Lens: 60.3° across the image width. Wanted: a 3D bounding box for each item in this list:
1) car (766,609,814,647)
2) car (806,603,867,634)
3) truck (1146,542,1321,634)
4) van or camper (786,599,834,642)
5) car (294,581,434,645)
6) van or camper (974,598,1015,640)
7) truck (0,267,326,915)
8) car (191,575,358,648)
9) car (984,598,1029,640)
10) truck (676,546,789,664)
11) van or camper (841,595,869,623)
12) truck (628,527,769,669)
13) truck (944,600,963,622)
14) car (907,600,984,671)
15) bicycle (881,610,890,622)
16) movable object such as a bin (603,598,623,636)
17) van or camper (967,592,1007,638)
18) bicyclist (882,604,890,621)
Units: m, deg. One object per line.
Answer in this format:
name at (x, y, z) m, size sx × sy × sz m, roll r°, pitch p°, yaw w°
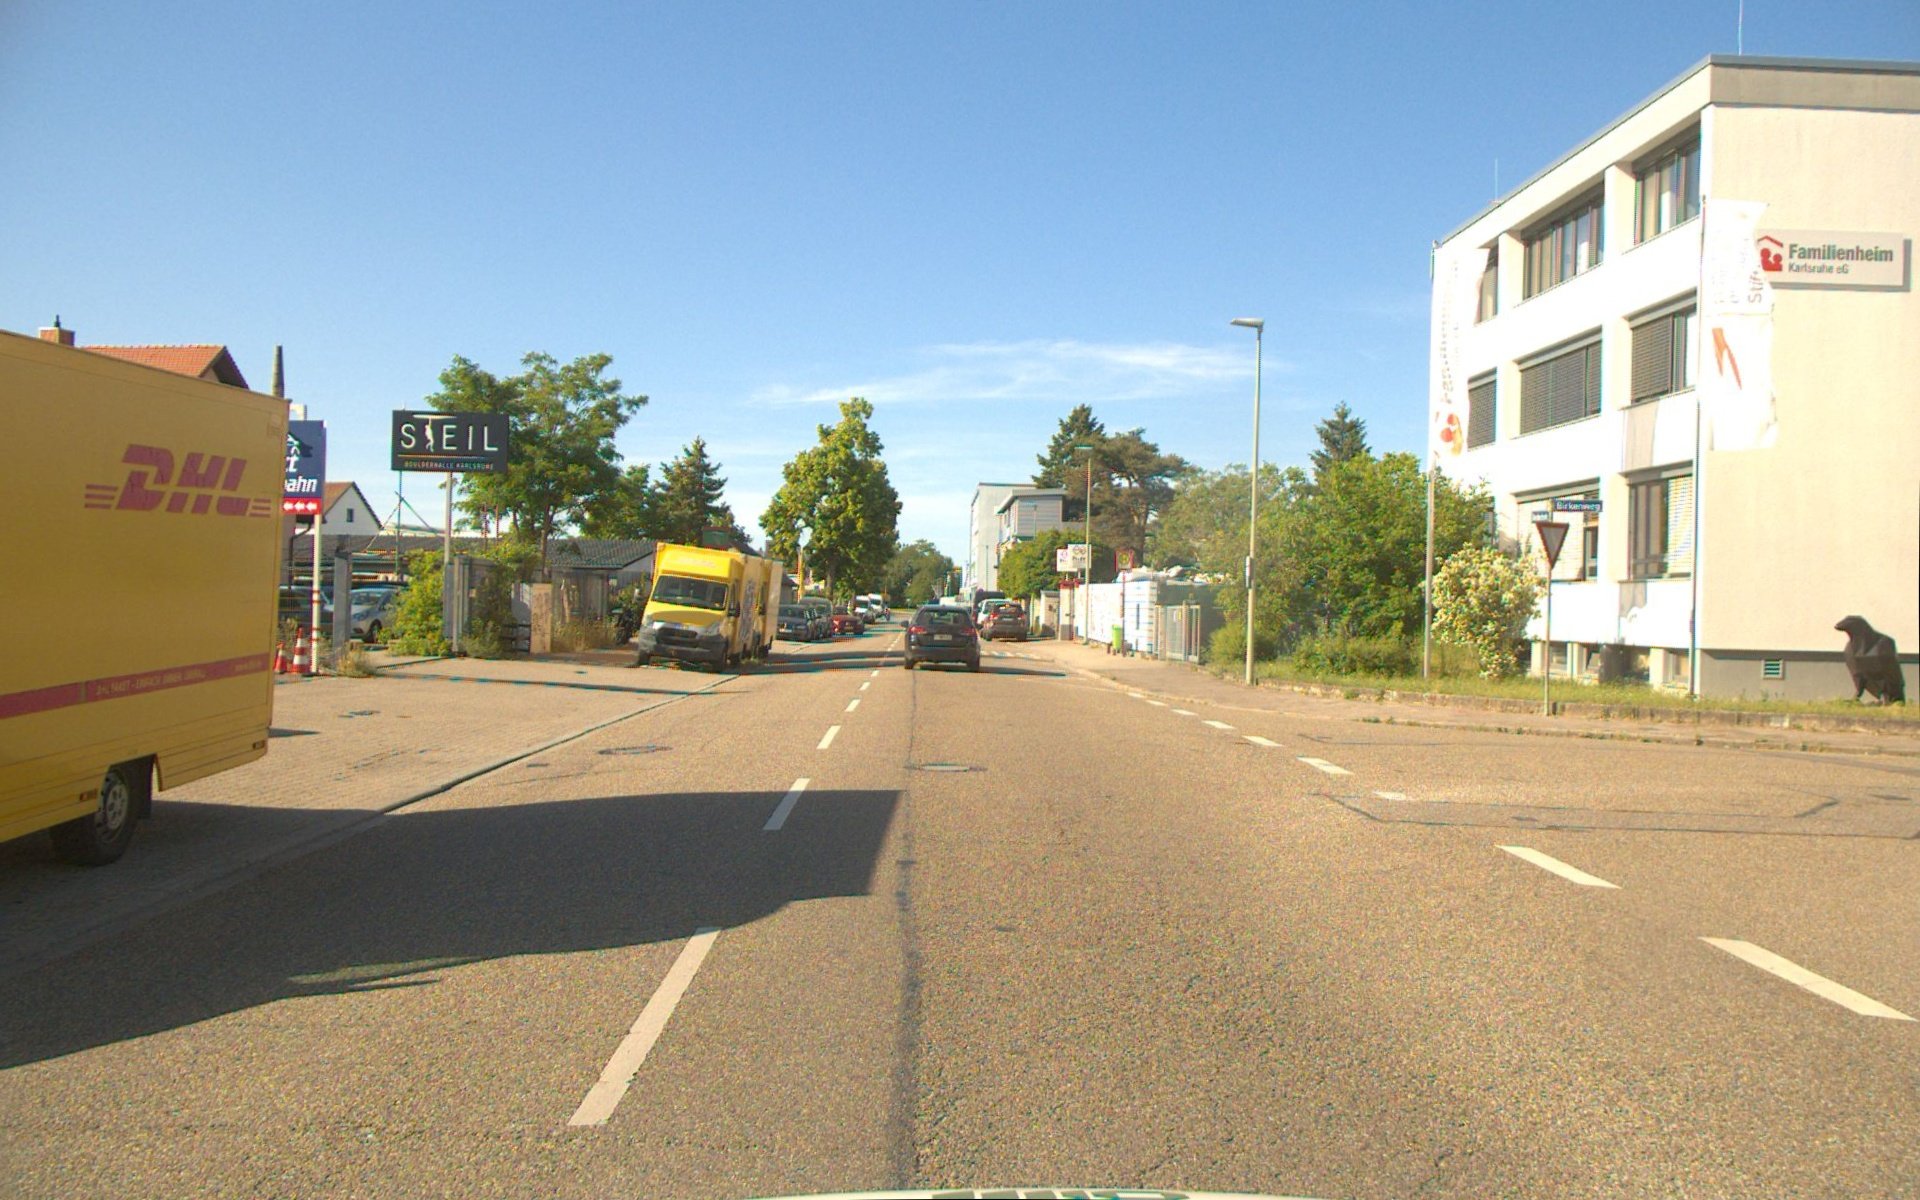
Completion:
car at (-6.992, 1.130, 68.282) m, size 1.722 × 1.428 × 4.554 m, roll 1°, pitch 0°, yaw -3°
car at (-6.299, 0.925, 84.019) m, size 1.852 × 1.511 × 4.012 m, roll 0°, pitch 0°, yaw -25°
truck at (12.258, -0.513, 74.406) m, size 7.231 × 3.837 × 2.830 m, roll 2°, pitch 0°, yaw -6°
van or camper at (-7.058, 0.971, 78.219) m, size 1.852 × 1.959 × 4.265 m, roll 1°, pitch -1°, yaw 0°
car at (-16.153, 0.349, 45.057) m, size 1.658 × 1.606 × 4.047 m, roll 1°, pitch 0°, yaw 12°
van or camper at (1.737, 0.950, 83.922) m, size 1.880 × 2.055 × 4.078 m, roll 1°, pitch 0°, yaw -1°
truck at (-5.694, -0.075, 8.281) m, size 2.355 × 3.035 × 7.241 m, roll 3°, pitch 0°, yaw -2°
car at (-16.266, 0.261, 39.465) m, size 1.658 × 1.606 × 4.048 m, roll 1°, pitch 0°, yaw 12°
car at (2.160, 0.887, 77.738) m, size 1.880 × 1.857 × 4.078 m, roll 1°, pitch 0°, yaw -1°
truck at (-6.268, 0.140, 46.407) m, size 2.148 × 2.952 × 6.438 m, roll 3°, pitch 0°, yaw 0°
van or camper at (-9.535, 0.837, 149.907) m, size 2.278 × 2.403 × 6.521 m, roll 2°, pitch 0°, yaw -5°
truck at (-6.160, -0.022, 39.855) m, size 2.354 × 3.035 × 6.372 m, roll 3°, pitch 0°, yaw -1°
truck at (-0.779, 1.192, 183.436) m, size 1.953 × 2.328 × 6.953 m, roll 1°, pitch 0°, yaw -1°
car at (-0.333, 0.786, 38.477) m, size 1.677 × 1.559 × 3.687 m, roll 1°, pitch 0°, yaw 0°
bicycle at (-7.278, 1.570, 161.330) m, size 0.812 × 1.174 × 2.939 m, roll 1°, pitch 0°, yaw -3°
movable object such as a bin at (-12.475, 0.600, 59.435) m, size 0.573 × 1.363 × 0.549 m, roll 1°, pitch 0°, yaw -2°
van or camper at (1.415, 0.804, 89.026) m, size 1.953 × 2.351 × 3.999 m, roll 1°, pitch 0°, yaw -1°
bicyclist at (-7.228, 1.222, 161.289) m, size 0.681 × 1.566 × 0.634 m, roll 1°, pitch -1°, yaw -3°
